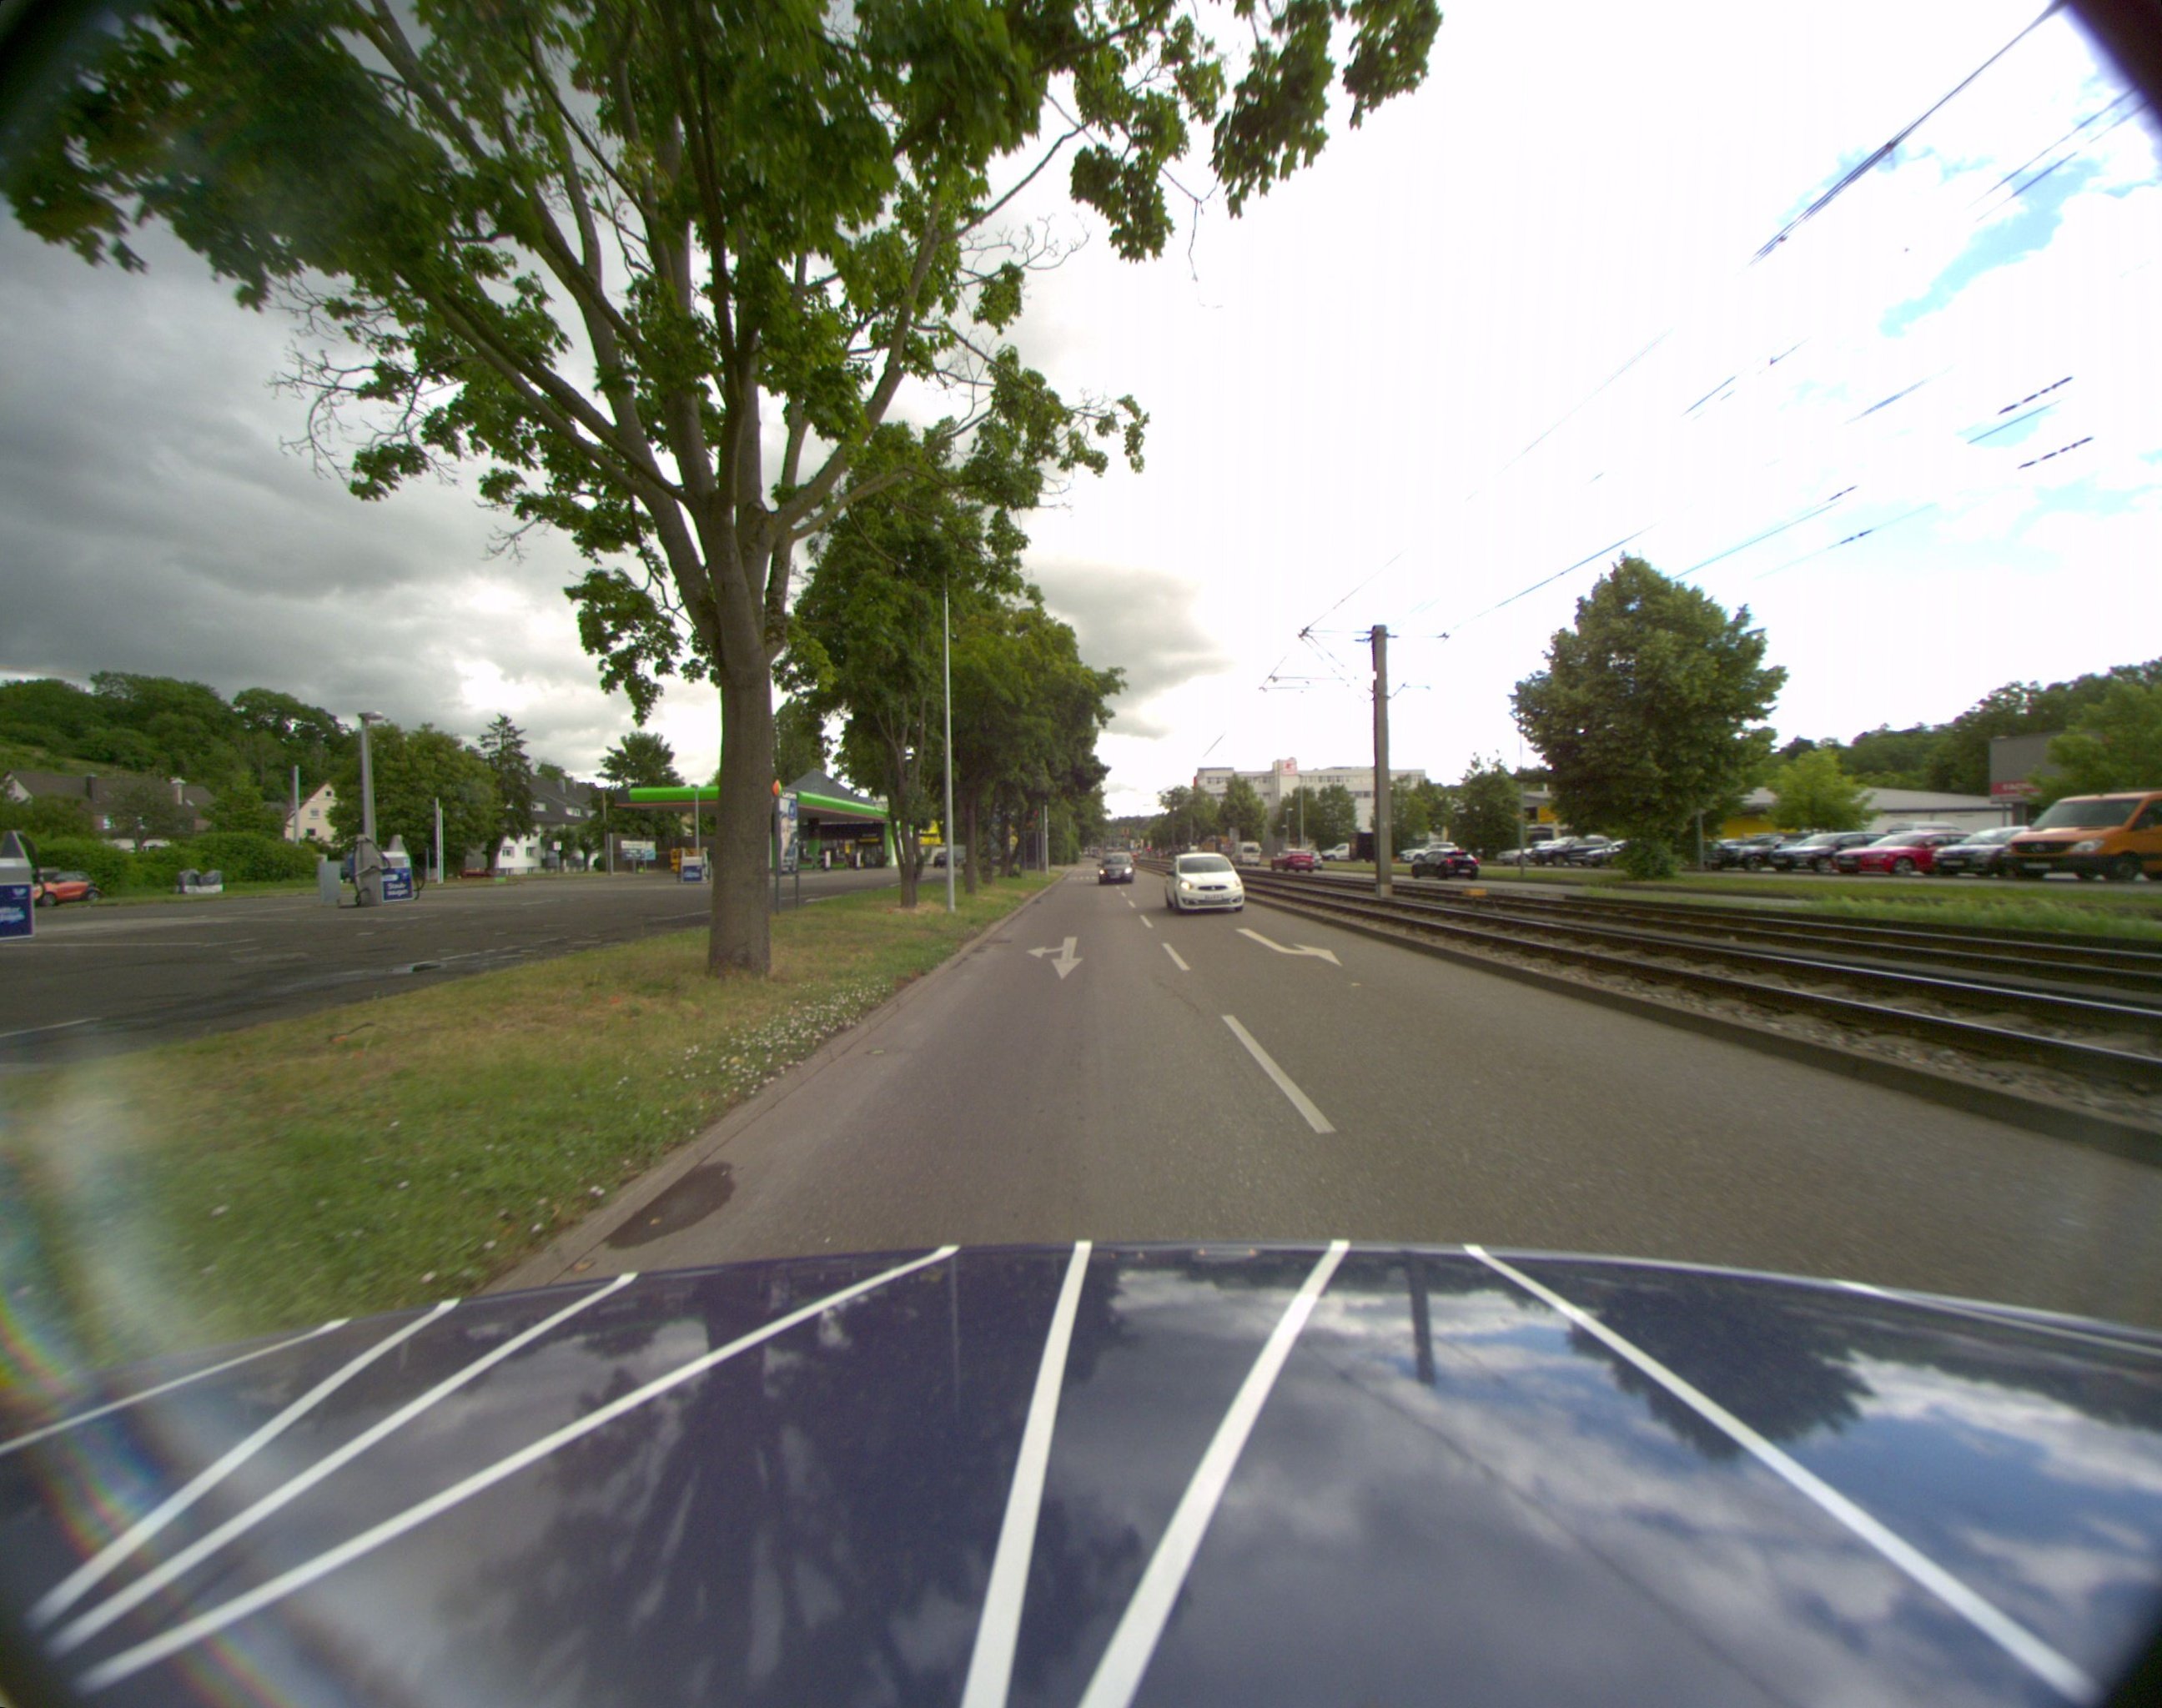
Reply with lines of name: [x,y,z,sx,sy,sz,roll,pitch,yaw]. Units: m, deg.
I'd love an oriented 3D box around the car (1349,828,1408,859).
car: [26.896,-0.941,68.748,4.481,2.733,2.288,0,1,0]

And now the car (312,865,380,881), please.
car: [-64.120,1.655,66.328,3.998,1.212,1.842,-1,0,-4]

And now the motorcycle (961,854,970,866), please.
motorcycle: [-10.904,0.565,72.013,0.704,1.180,2.387,-1,0,-5]

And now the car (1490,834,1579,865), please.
car: [26.668,-0.273,44.755,3.997,1.498,2.002,-4,1,0]

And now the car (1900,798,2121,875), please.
car: [27.197,-0.501,22.350,3.997,1.907,2.000,-4,1,0]

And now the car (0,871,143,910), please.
car: [-44.349,1.555,33.239,2.000,1.456,3.996,-4,0,-11]

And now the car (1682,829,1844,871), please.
car: [26.875,-0.154,30.058,4.384,1.346,2.195,-4,1,0]

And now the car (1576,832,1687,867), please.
car: [26.993,-0.206,37.331,3.997,1.413,1.937,-4,1,0]

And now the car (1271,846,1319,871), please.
car: [14.136,0.252,50.433,1.788,1.573,4.481,0,0,-2]

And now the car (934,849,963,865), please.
car: [-13.501,0.289,77.640,1.998,1.629,4.326,1,1,1]

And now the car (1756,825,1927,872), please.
car: [27.272,-0.205,27.352,3.997,1.359,2.093,-4,1,0]

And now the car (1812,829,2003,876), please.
car: [26.789,-0.060,24.736,3.997,1.229,2.000,-4,1,0]

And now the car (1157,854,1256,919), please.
car: [3.169,0.769,20.016,1.786,1.435,3.999,-4,0,-1]

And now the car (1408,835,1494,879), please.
car: [17.632,0.124,36.416,1.999,2.002,3.998,0,0,-3]

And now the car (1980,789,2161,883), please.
car: [26.363,-0.490,19.522,3.997,2.153,2.058,-4,1,0]

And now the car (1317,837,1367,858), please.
car: [26.831,-0.646,78.193,4.355,1.908,2.000,-4,1,4]

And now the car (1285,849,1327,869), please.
car: [17.182,0.370,58.295,1.999,1.474,3.999,1,0,0]

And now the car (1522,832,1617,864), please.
car: [27.065,-0.326,42.177,3.997,1.498,1.937,-4,1,0]

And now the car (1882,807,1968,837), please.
car: [54.801,-2.071,49.379,3.738,1.613,1.723,-4,1,-2]

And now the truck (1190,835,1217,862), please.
truck: [18.227,-0.782,113.426,2.899,3.943,8.631,-1,0,1]

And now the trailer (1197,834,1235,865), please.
trailer: [17.978,-0.648,101.879,2.678,3.874,14.424,1,0,1]

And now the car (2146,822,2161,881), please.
car: [39.042,-0.179,25.544,3.738,2.002,1.952,-4,1,-2]

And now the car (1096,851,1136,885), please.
car: [1.838,0.685,40.765,1.786,1.614,3.999,-4,0,-1]

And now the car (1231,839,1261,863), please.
car: [17.437,-0.304,80.528,1.874,2.485,5.999,0,0,0]

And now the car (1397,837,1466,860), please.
car: [27.449,-0.415,59.558,4.482,1.498,1.795,-4,1,-2]

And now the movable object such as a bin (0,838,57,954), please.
movable object such as a bin: [-17.536,0.669,11.831,1.161,1.808,1.455,-1,1,-3]
